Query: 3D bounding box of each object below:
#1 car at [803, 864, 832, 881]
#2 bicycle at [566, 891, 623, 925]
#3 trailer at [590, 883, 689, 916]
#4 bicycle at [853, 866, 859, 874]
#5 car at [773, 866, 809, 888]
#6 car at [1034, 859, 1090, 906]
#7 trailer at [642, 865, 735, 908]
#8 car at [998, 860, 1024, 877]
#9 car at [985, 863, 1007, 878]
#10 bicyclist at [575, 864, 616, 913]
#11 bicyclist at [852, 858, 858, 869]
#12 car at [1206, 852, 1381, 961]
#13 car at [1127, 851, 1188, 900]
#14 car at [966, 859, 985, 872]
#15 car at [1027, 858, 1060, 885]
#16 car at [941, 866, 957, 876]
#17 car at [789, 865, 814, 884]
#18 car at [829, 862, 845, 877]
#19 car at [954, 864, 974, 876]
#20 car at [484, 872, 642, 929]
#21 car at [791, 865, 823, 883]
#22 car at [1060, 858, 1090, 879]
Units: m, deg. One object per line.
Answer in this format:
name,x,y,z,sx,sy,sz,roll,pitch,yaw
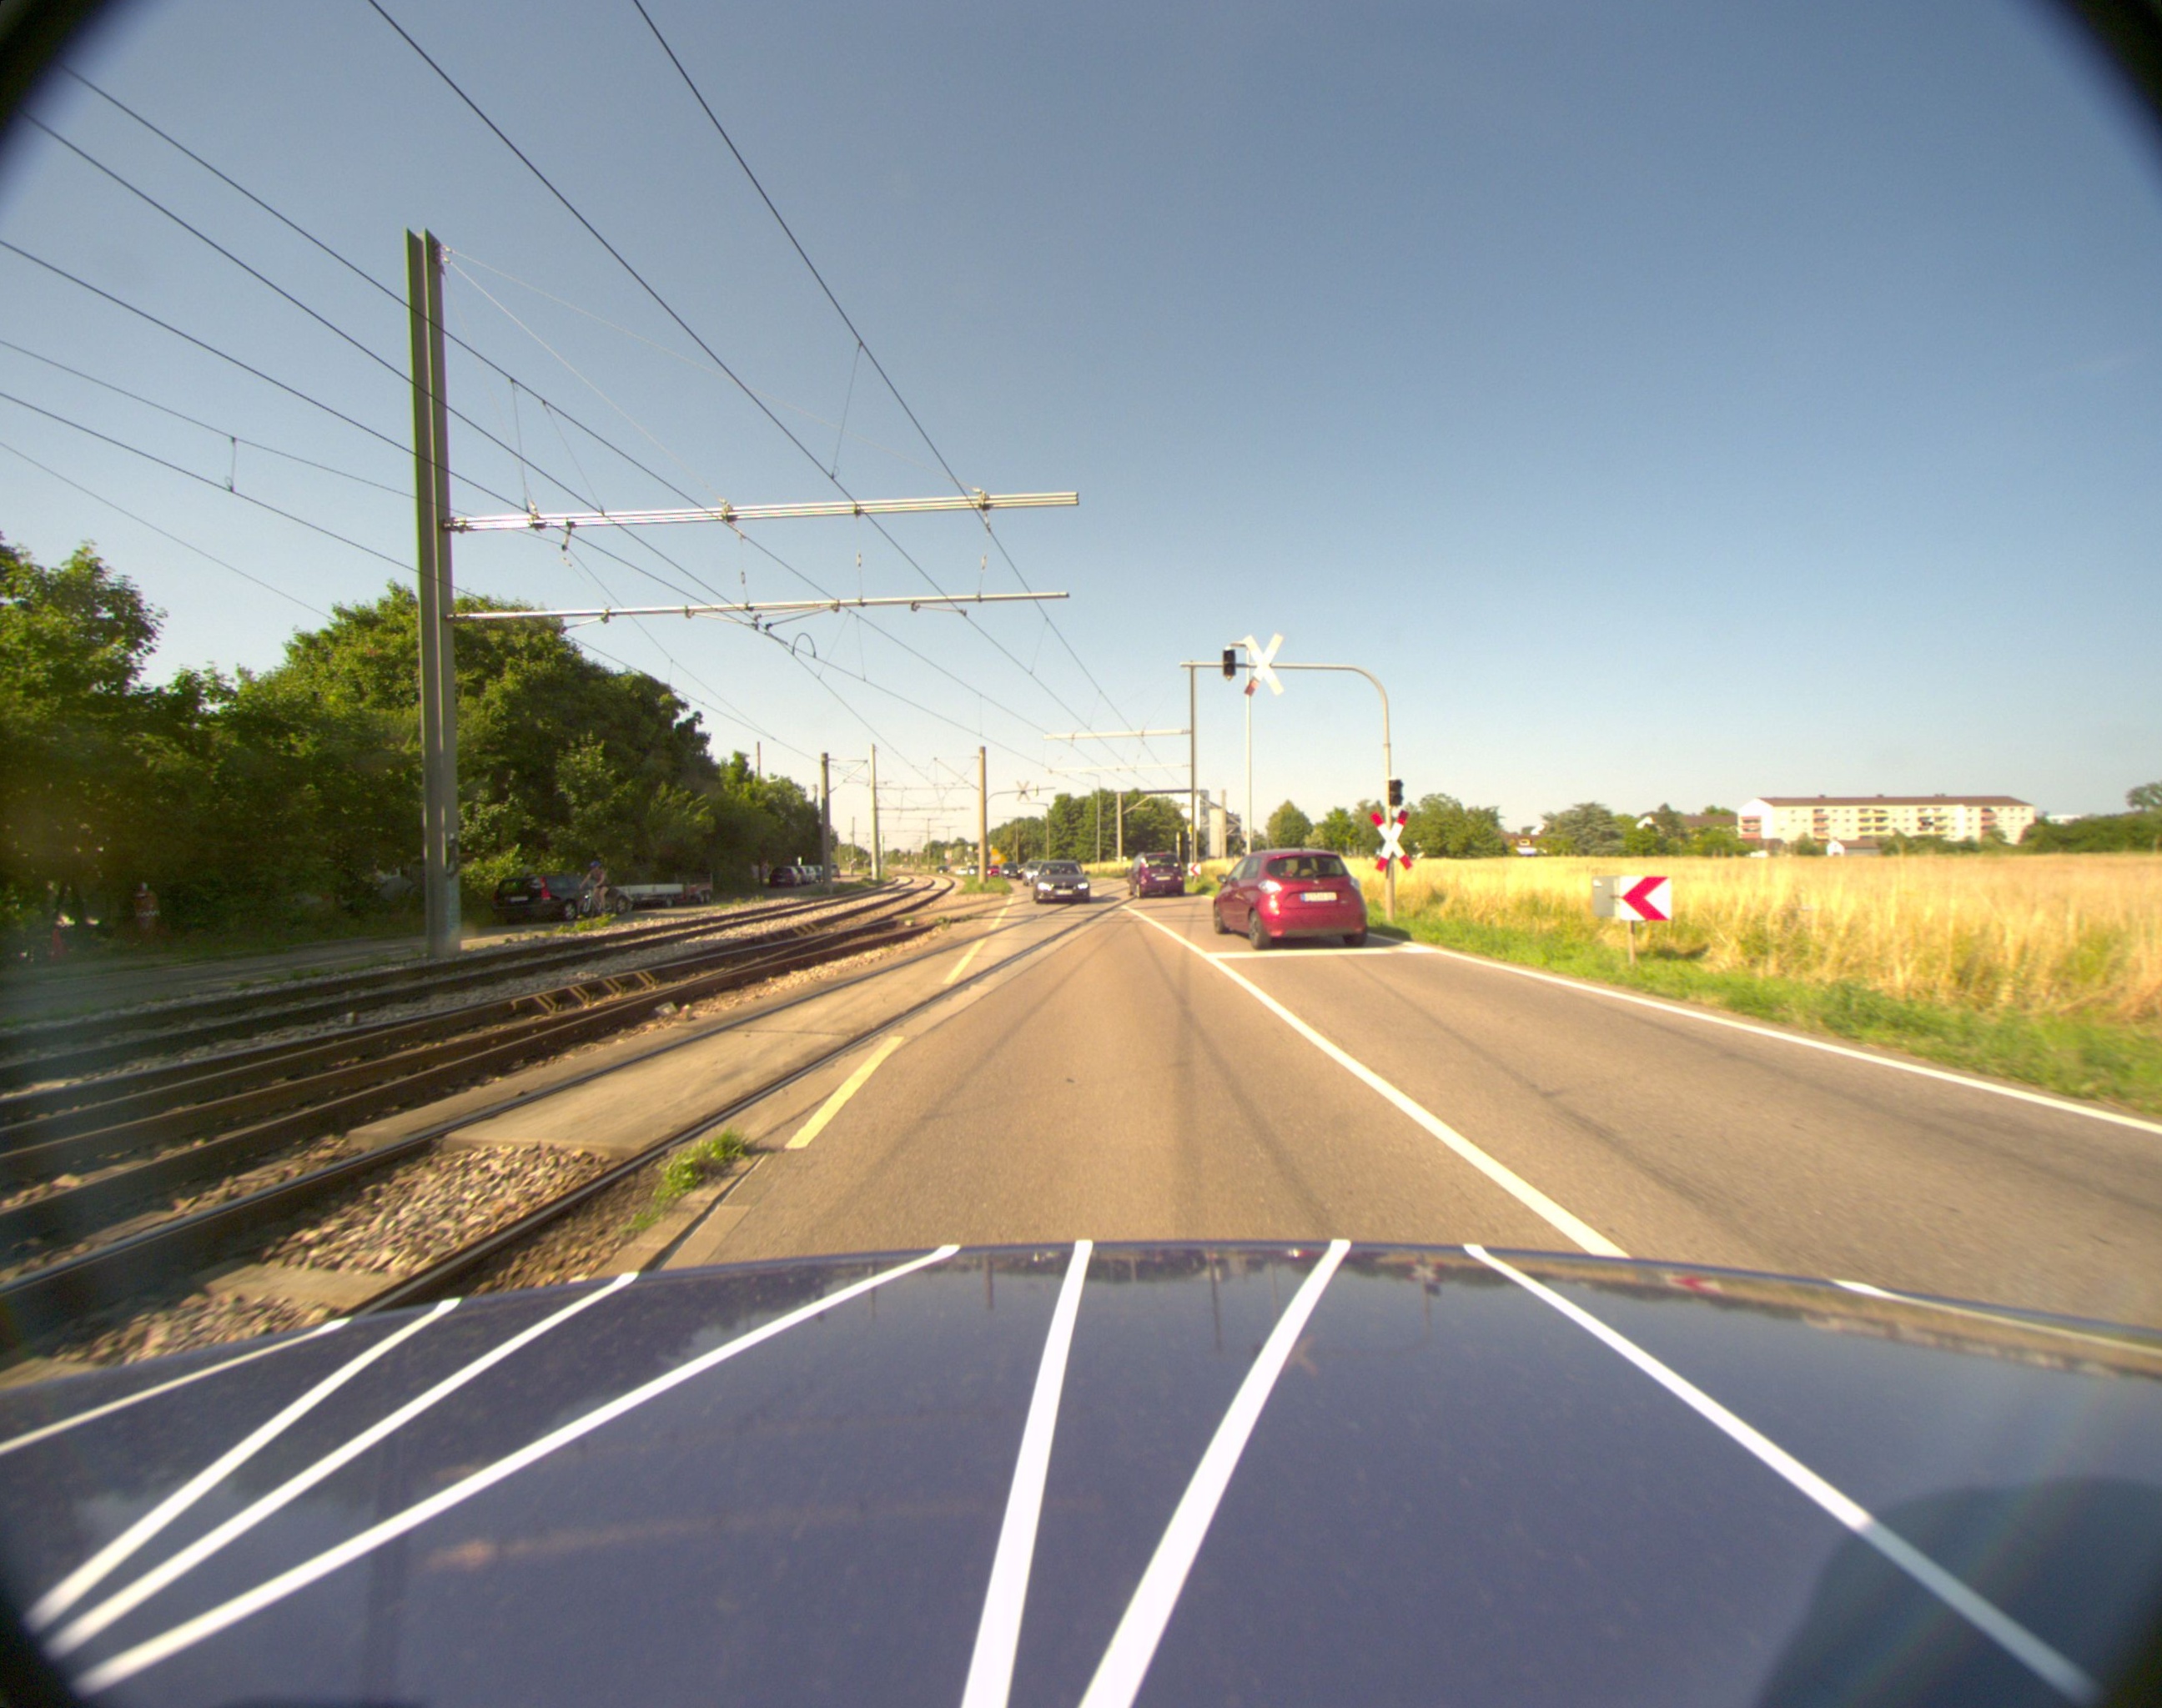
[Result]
car,-24.075,1.680,69.502,1.683,1.421,3.909,-3,0,-9
bicycle,-14.604,1.601,22.869,0.644,0.904,1.843,-2,0,-5
trailer,-16.853,1.714,29.215,1.736,0.934,3.727,-4,0,-4
bicycle,-26.217,1.868,88.370,0.645,0.904,1.811,-2,0,-17
car,-20.574,1.589,54.060,1.628,1.402,4.516,-2,0,-12
car,-0.624,0.917,26.316,1.747,1.444,3.946,-2,0,0
trailer,-17.034,1.377,33.254,2.032,1.587,4.258,-3,0,-4
car,-6.157,1.252,66.495,1.849,1.347,4.151,-2,0,-10
car,-9.480,1.799,84.364,1.850,1.587,3.734,-2,0,-15
bicyclist,-14.617,1.028,22.900,0.631,1.414,0.962,-2,0,-5
bicyclist,-26.268,1.141,88.444,0.642,1.226,0.790,-2,0,-17
car,3.394,0.779,12.928,1.717,1.540,3.928,-1,-1,-2
car,2.816,0.760,28.987,1.711,1.655,4.589,-2,0,-1
car,-13.342,1.459,96.340,1.609,1.504,4.262,-2,0,-18
car,-2.271,0.991,44.510,1.711,1.444,4.588,-2,-1,-5
car,-21.055,2.673,120.967,1.840,1.504,4.146,-2,0,-20
car,-21.608,1.592,58.857,1.490,1.393,4.145,-1,0,-15
car,-26.101,1.629,81.308,1.528,1.600,4.478,0,-1,-17
car,-16.270,2.201,105.542,1.971,1.609,4.301,-1,0,-20
car,-16.324,1.396,24.313,1.703,1.448,4.880,-4,0,-1
car,-22.897,1.626,63.635,1.715,1.456,4.386,0,-1,-10
car,-0.486,1.080,57.353,1.698,1.431,4.281,-1,0,-8
